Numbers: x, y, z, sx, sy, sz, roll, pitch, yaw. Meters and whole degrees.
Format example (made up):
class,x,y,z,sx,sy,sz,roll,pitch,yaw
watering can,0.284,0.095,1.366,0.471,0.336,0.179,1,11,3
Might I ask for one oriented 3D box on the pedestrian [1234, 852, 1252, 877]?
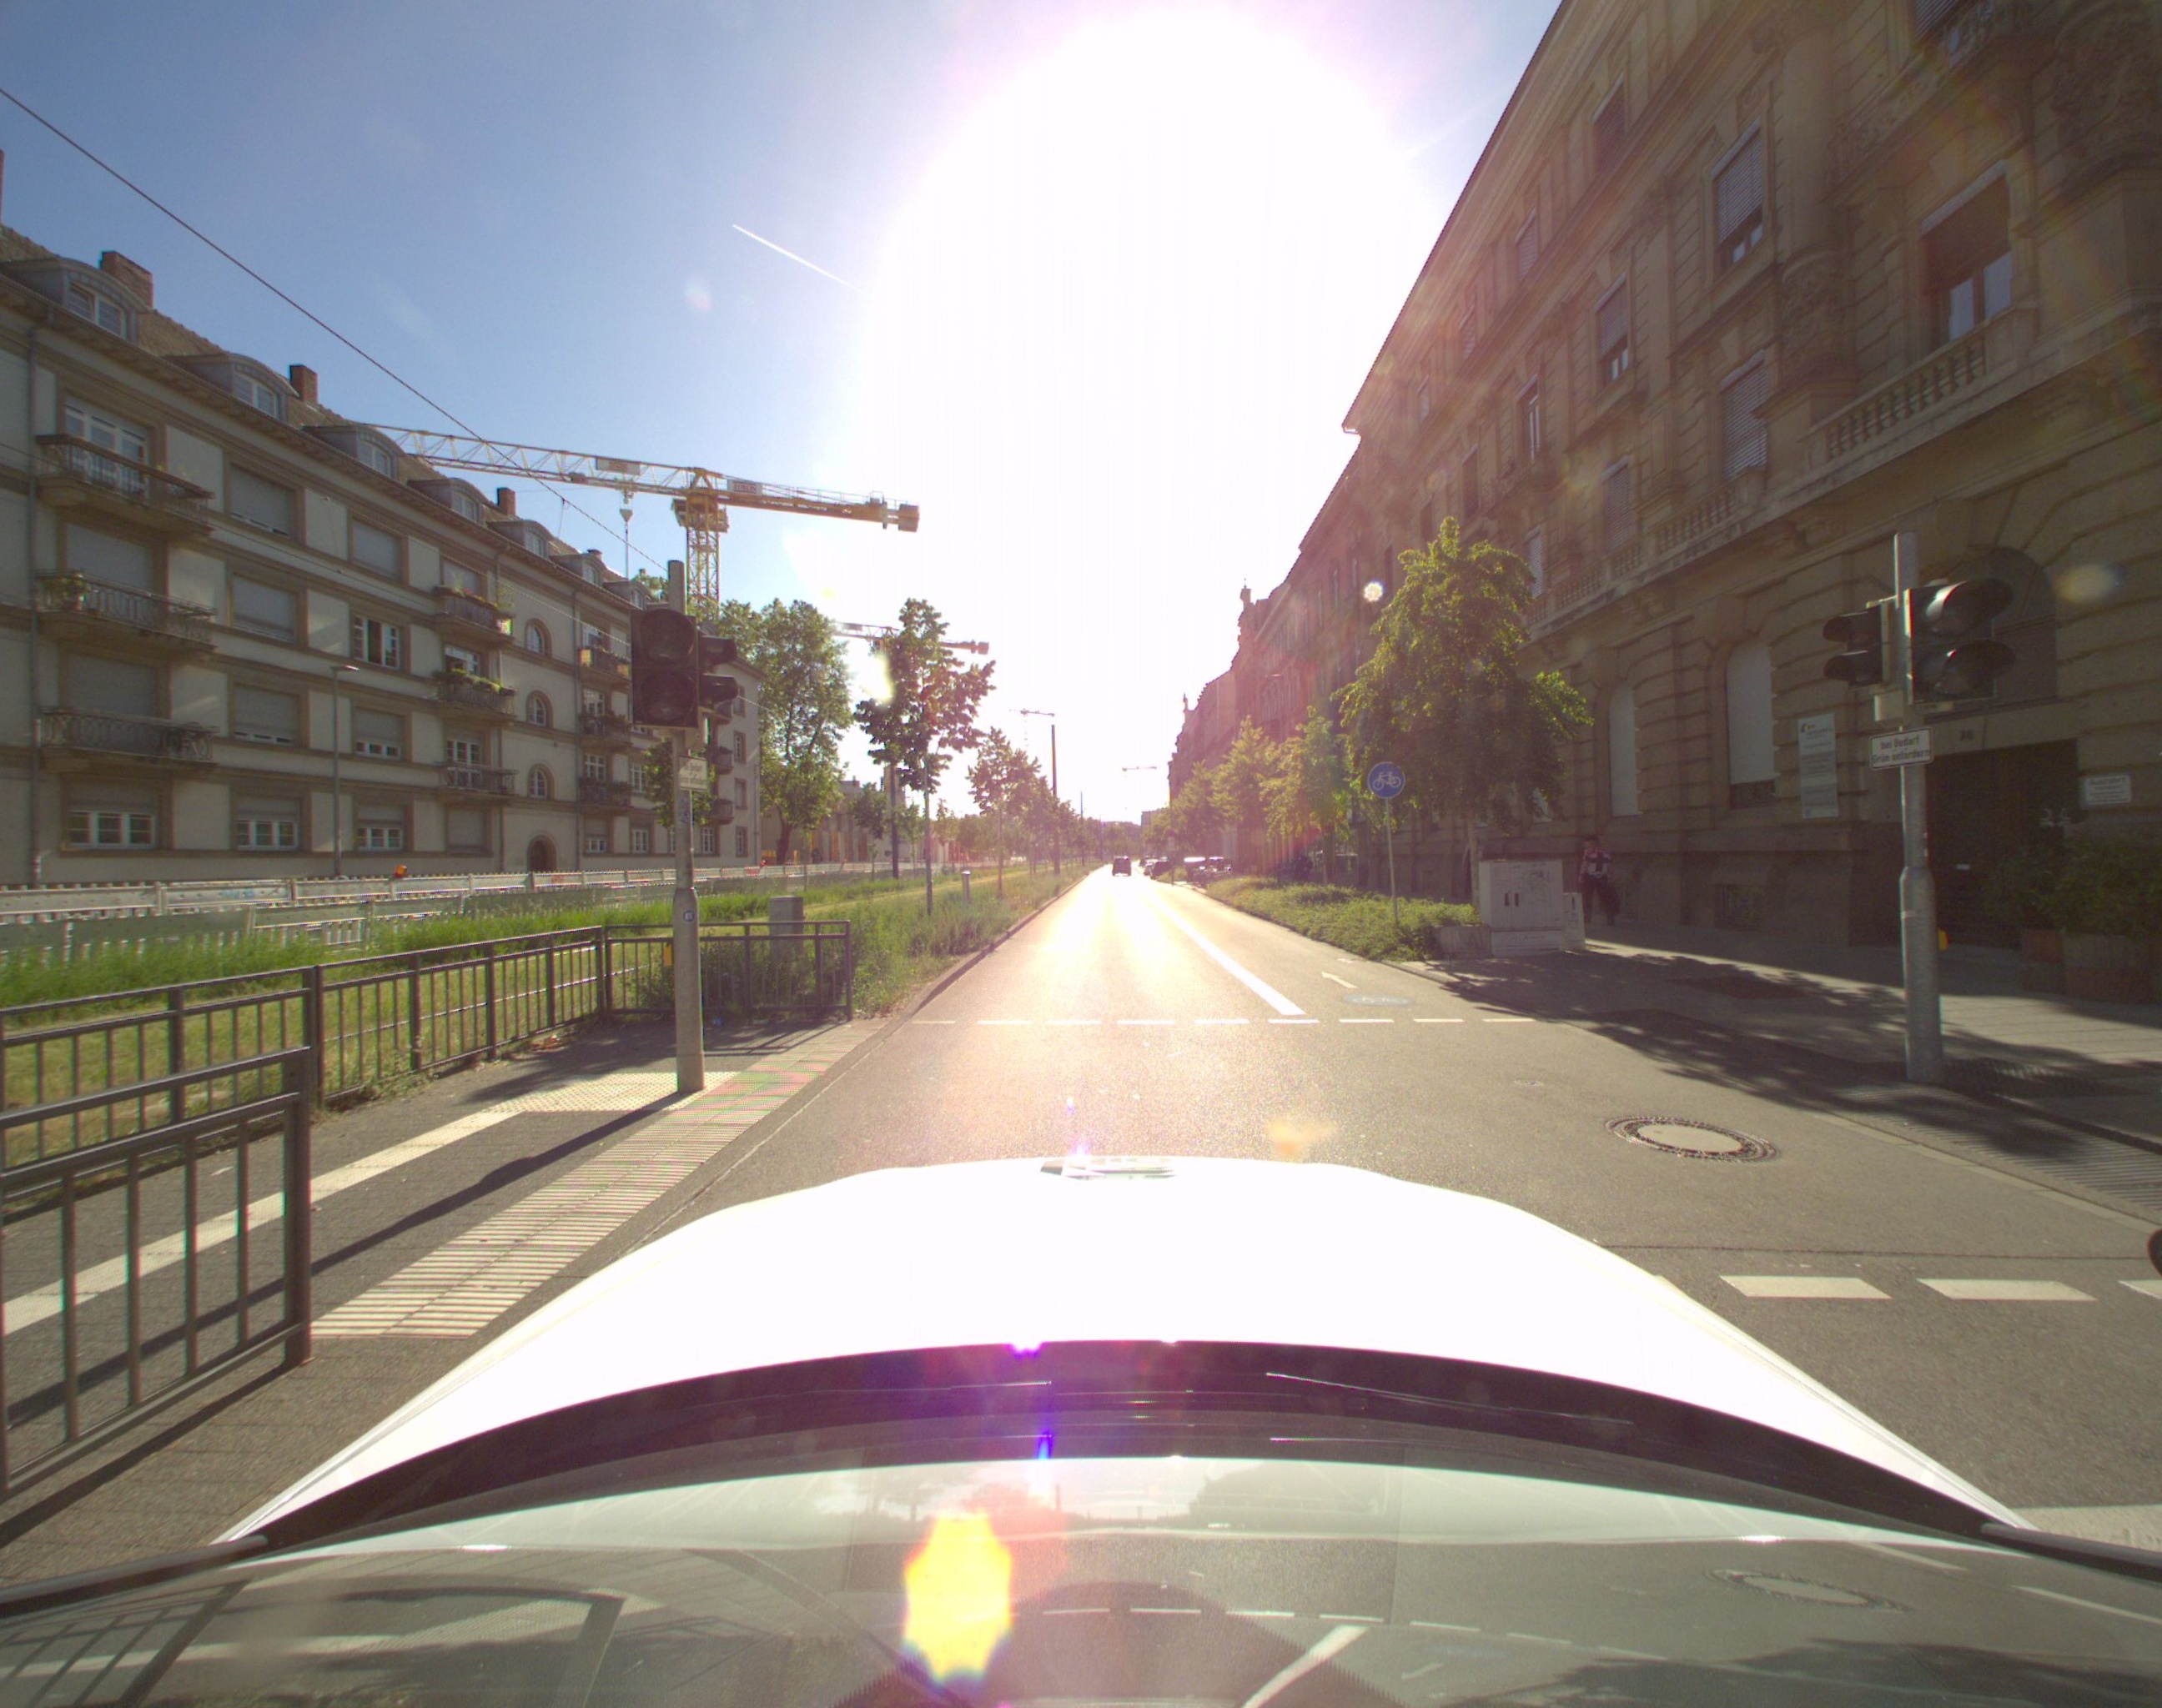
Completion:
class,x,y,z,sx,sy,sz,roll,pitch,yaw
pedestrian,10.626,0.675,53.555,0.947,1.566,1.080,-2,0,1

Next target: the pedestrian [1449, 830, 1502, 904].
class,x,y,z,sx,sy,sz,roll,pitch,yaw
pedestrian,10.634,0.348,21.976,0.885,1.920,1.100,-3,-1,7

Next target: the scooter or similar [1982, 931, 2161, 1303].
class,x,y,z,sx,sy,sz,roll,pitch,yaw
scooter or similar,3.845,0.882,2.595,0.644,1.158,1.149,0,-1,-4

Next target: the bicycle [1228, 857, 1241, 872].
class,x,y,z,sx,sy,sz,roll,pitch,yaw
bicycle,12.784,0.868,67.983,0.745,1.201,1.801,-3,-1,2

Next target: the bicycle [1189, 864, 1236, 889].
class,x,y,z,sx,sy,sz,roll,pitch,yaw
bicycle,6.604,1.108,40.887,2.287,1.102,0.484,-3,-1,-13

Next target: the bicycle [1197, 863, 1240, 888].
class,x,y,z,sx,sy,sz,roll,pitch,yaw
bicycle,6.709,1.061,39.718,1.971,1.108,0.435,-3,-1,-1

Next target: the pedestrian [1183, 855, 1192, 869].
class,x,y,z,sx,sy,sz,roll,pitch,yaw
pedestrian,13.120,1.030,100.240,0.992,1.731,0.866,0,-1,1

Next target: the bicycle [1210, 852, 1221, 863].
class,x,y,z,sx,sy,sz,roll,pitch,yaw
bicycle,13.554,0.382,82.180,0.718,1.090,2.200,-3,0,2

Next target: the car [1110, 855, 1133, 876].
class,x,y,z,sx,sy,sz,roll,pitch,yaw
car,3.924,1.121,79.287,1.987,2.014,3.999,0,-1,0

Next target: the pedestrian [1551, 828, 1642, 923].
class,x,y,z,sx,sy,sz,roll,pitch,yaw
pedestrian,9.883,0.405,15.668,0.965,1.692,1.115,-3,-1,3

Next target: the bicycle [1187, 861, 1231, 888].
class,x,y,z,sx,sy,sz,roll,pitch,yaw
bicycle,6.474,1.037,41.235,2.148,1.154,0.428,-5,0,-12

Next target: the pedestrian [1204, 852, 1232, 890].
class,x,y,z,sx,sy,sz,roll,pitch,yaw
pedestrian,6.658,0.813,39.510,0.838,1.735,0.908,-6,-1,40

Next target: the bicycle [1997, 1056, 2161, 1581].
class,x,y,z,sx,sy,sz,roll,pitch,yaw
bicycle,2.601,0.995,1.010,0.721,1.006,1.951,0,0,-1

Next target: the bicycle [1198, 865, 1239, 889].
class,x,y,z,sx,sy,sz,roll,pitch,yaw
bicycle,6.653,1.089,39.375,1.811,1.056,0.571,-3,-1,-4

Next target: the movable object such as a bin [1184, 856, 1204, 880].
class,x,y,z,sx,sy,sz,roll,pitch,yaw
movable object such as a bin,7.325,0.889,52.962,1.264,1.463,1.647,0,2,7

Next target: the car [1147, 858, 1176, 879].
class,x,y,z,sx,sy,sz,roll,pitch,yaw
car,6.474,1.183,65.871,1.760,1.477,4.447,-4,-1,-1

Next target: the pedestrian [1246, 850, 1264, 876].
class,x,y,z,sx,sy,sz,roll,pitch,yaw
pedestrian,11.404,0.605,53.356,0.967,1.639,0.993,-3,0,2

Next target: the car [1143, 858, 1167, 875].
class,x,y,z,sx,sy,sz,roll,pitch,yaw
car,7.087,1.217,78.573,1.944,1.495,5.108,-3,-1,2

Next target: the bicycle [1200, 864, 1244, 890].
class,x,y,z,sx,sy,sz,roll,pitch,yaw
bicycle,6.556,1.081,37.904,1.887,1.108,0.517,-3,-1,-4

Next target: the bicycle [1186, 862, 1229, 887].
class,x,y,z,sx,sy,sz,roll,pitch,yaw
bicycle,6.566,1.069,42.317,2.040,1.107,0.610,-4,-1,-4

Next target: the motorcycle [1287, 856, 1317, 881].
class,x,y,z,sx,sy,sz,roll,pitch,yaw
motorcycle,11.509,0.746,42.544,0.862,1.266,2.983,0,-1,2

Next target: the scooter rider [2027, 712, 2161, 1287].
class,x,y,z,sx,sy,sz,roll,pitch,yaw
scooter rider,3.843,0.472,2.568,0.659,1.866,0.897,0,0,-3

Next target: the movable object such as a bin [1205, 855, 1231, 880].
class,x,y,z,sx,sy,sz,roll,pitch,yaw
movable object such as a bin,8.921,0.891,53.098,1.368,1.495,1.750,-4,-1,3

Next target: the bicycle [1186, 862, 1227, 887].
class,x,y,z,sx,sy,sz,roll,pitch,yaw
bicycle,6.575,1.078,42.725,1.970,1.124,0.481,-5,0,-4

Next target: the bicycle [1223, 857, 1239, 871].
class,x,y,z,sx,sy,sz,roll,pitch,yaw
bicycle,13.078,0.880,71.043,0.873,1.105,2.181,-4,0,-1

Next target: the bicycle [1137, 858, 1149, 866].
class,x,y,z,sx,sy,sz,roll,pitch,yaw
bicycle,10.347,1.355,135.902,1.875,1.233,0.499,-4,-1,-4
